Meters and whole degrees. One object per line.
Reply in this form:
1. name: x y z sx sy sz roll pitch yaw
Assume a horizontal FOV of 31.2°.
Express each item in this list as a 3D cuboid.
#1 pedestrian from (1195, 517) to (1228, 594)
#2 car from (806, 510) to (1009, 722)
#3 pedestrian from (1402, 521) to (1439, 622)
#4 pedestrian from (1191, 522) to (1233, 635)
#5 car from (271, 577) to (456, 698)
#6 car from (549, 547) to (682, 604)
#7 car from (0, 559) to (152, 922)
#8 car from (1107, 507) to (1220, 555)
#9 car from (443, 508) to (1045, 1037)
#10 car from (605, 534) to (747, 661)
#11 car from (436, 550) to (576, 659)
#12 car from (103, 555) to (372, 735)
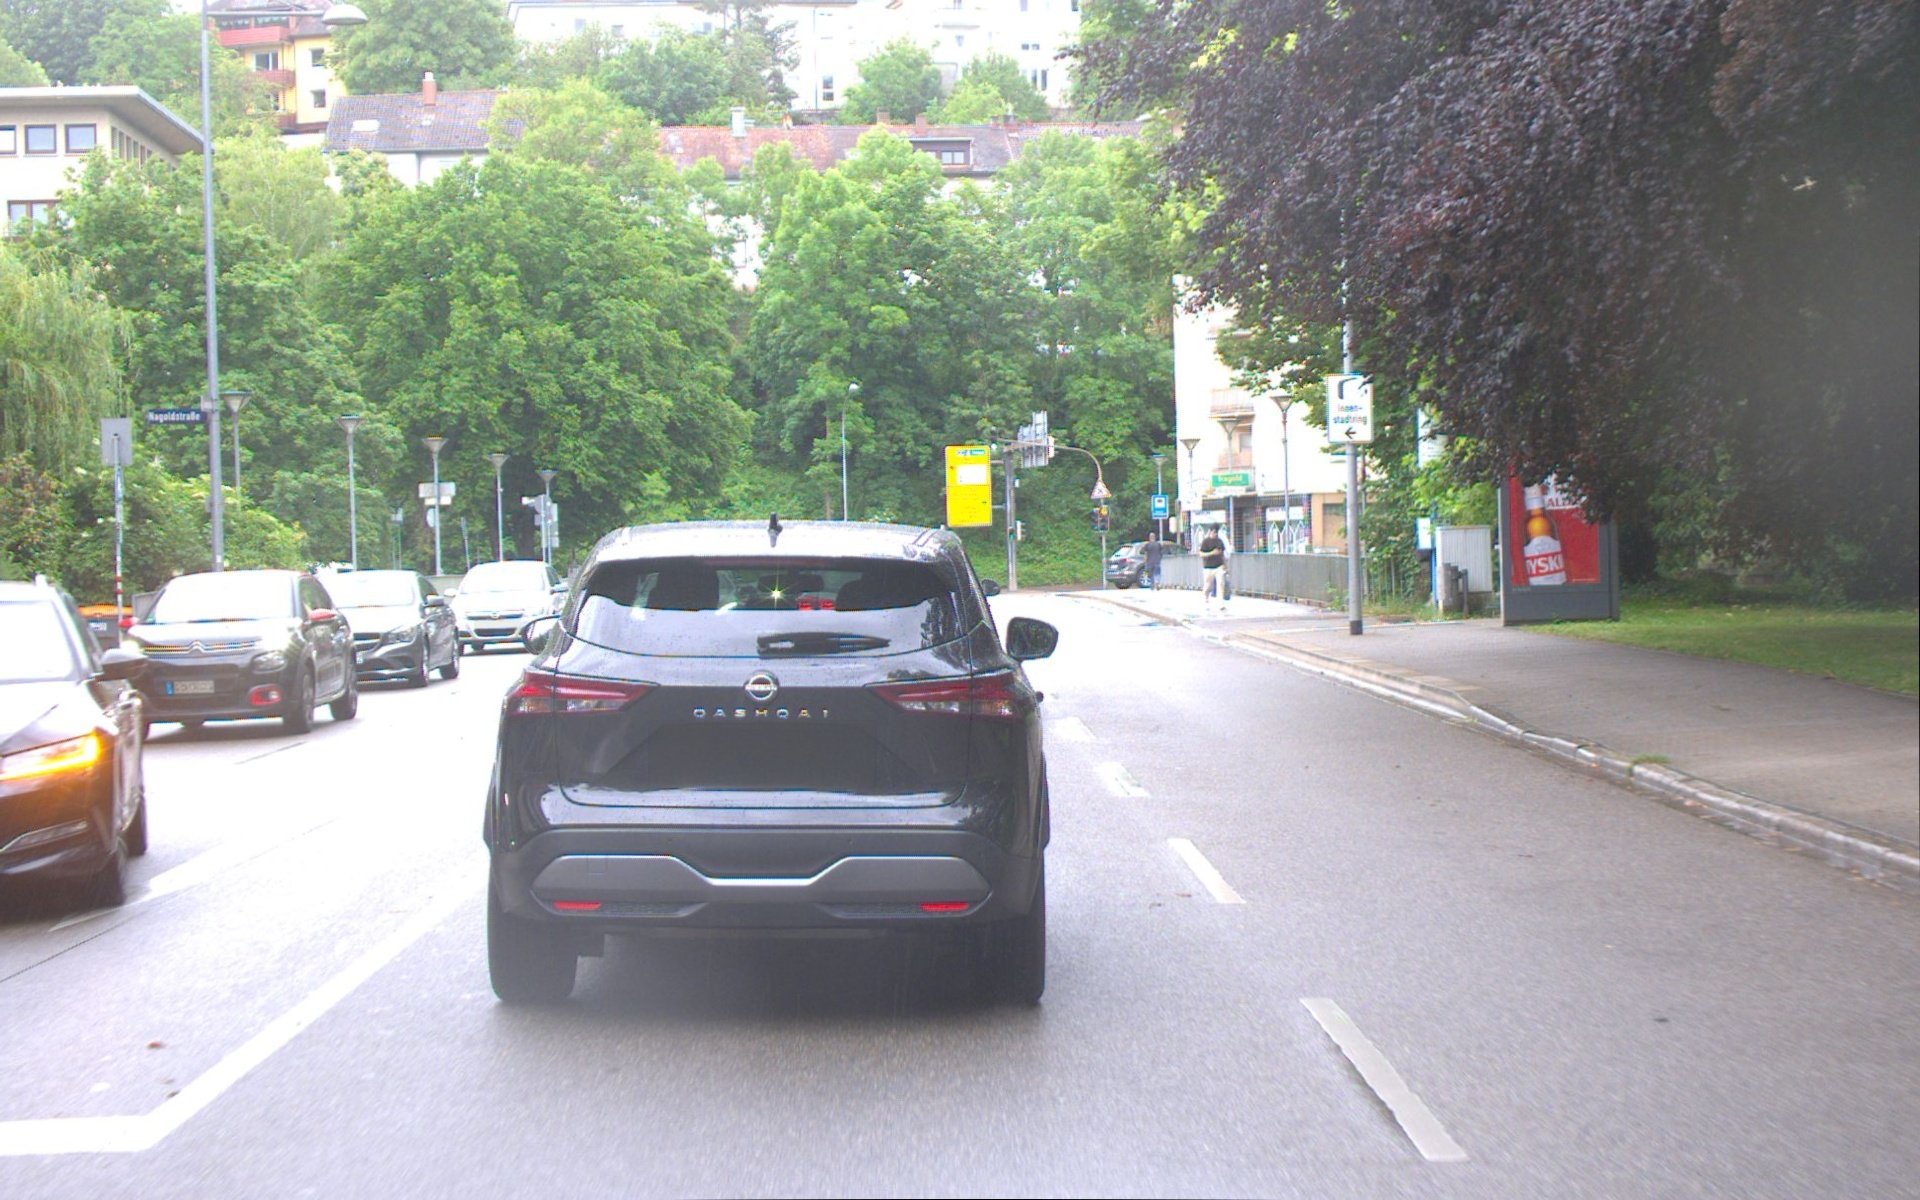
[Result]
1. pedestrian: 5.872 -1.035 80.346 0.618 1.773 0.778 -2 1 -1
2. car: -0.411 0.105 30.511 1.622 1.703 3.771 -2 1 1
3. pedestrian: 7.589 -0.473 56.626 0.545 1.645 0.490 1 0 13
4. pedestrian: 4.920 -0.421 67.093 0.768 2.176 0.711 1 0 2
5. car: -7.260 0.425 42.136 1.676 1.291 3.752 -3 1 -2
6. car: -13.280 -0.937 132.612 4.638 1.993 1.999 -2 1 11
7. car: -4.767 0.599 16.084 1.747 1.464 4.218 -3 1 -12
8. car: 7.964 -2.695 134.418 3.986 1.678 2.001 -2 1 -11
9. car: -0.686 0.517 12.430 1.806 1.584 4.000 1 0 -1
10. car: -4.185 -0.071 51.045 1.763 1.752 3.635 -2 1 0
11. car: -7.327 0.044 55.768 1.750 1.628 3.635 -2 1 0
12. car: -6.638 0.364 31.972 1.676 1.464 4.217 -3 1 -2
